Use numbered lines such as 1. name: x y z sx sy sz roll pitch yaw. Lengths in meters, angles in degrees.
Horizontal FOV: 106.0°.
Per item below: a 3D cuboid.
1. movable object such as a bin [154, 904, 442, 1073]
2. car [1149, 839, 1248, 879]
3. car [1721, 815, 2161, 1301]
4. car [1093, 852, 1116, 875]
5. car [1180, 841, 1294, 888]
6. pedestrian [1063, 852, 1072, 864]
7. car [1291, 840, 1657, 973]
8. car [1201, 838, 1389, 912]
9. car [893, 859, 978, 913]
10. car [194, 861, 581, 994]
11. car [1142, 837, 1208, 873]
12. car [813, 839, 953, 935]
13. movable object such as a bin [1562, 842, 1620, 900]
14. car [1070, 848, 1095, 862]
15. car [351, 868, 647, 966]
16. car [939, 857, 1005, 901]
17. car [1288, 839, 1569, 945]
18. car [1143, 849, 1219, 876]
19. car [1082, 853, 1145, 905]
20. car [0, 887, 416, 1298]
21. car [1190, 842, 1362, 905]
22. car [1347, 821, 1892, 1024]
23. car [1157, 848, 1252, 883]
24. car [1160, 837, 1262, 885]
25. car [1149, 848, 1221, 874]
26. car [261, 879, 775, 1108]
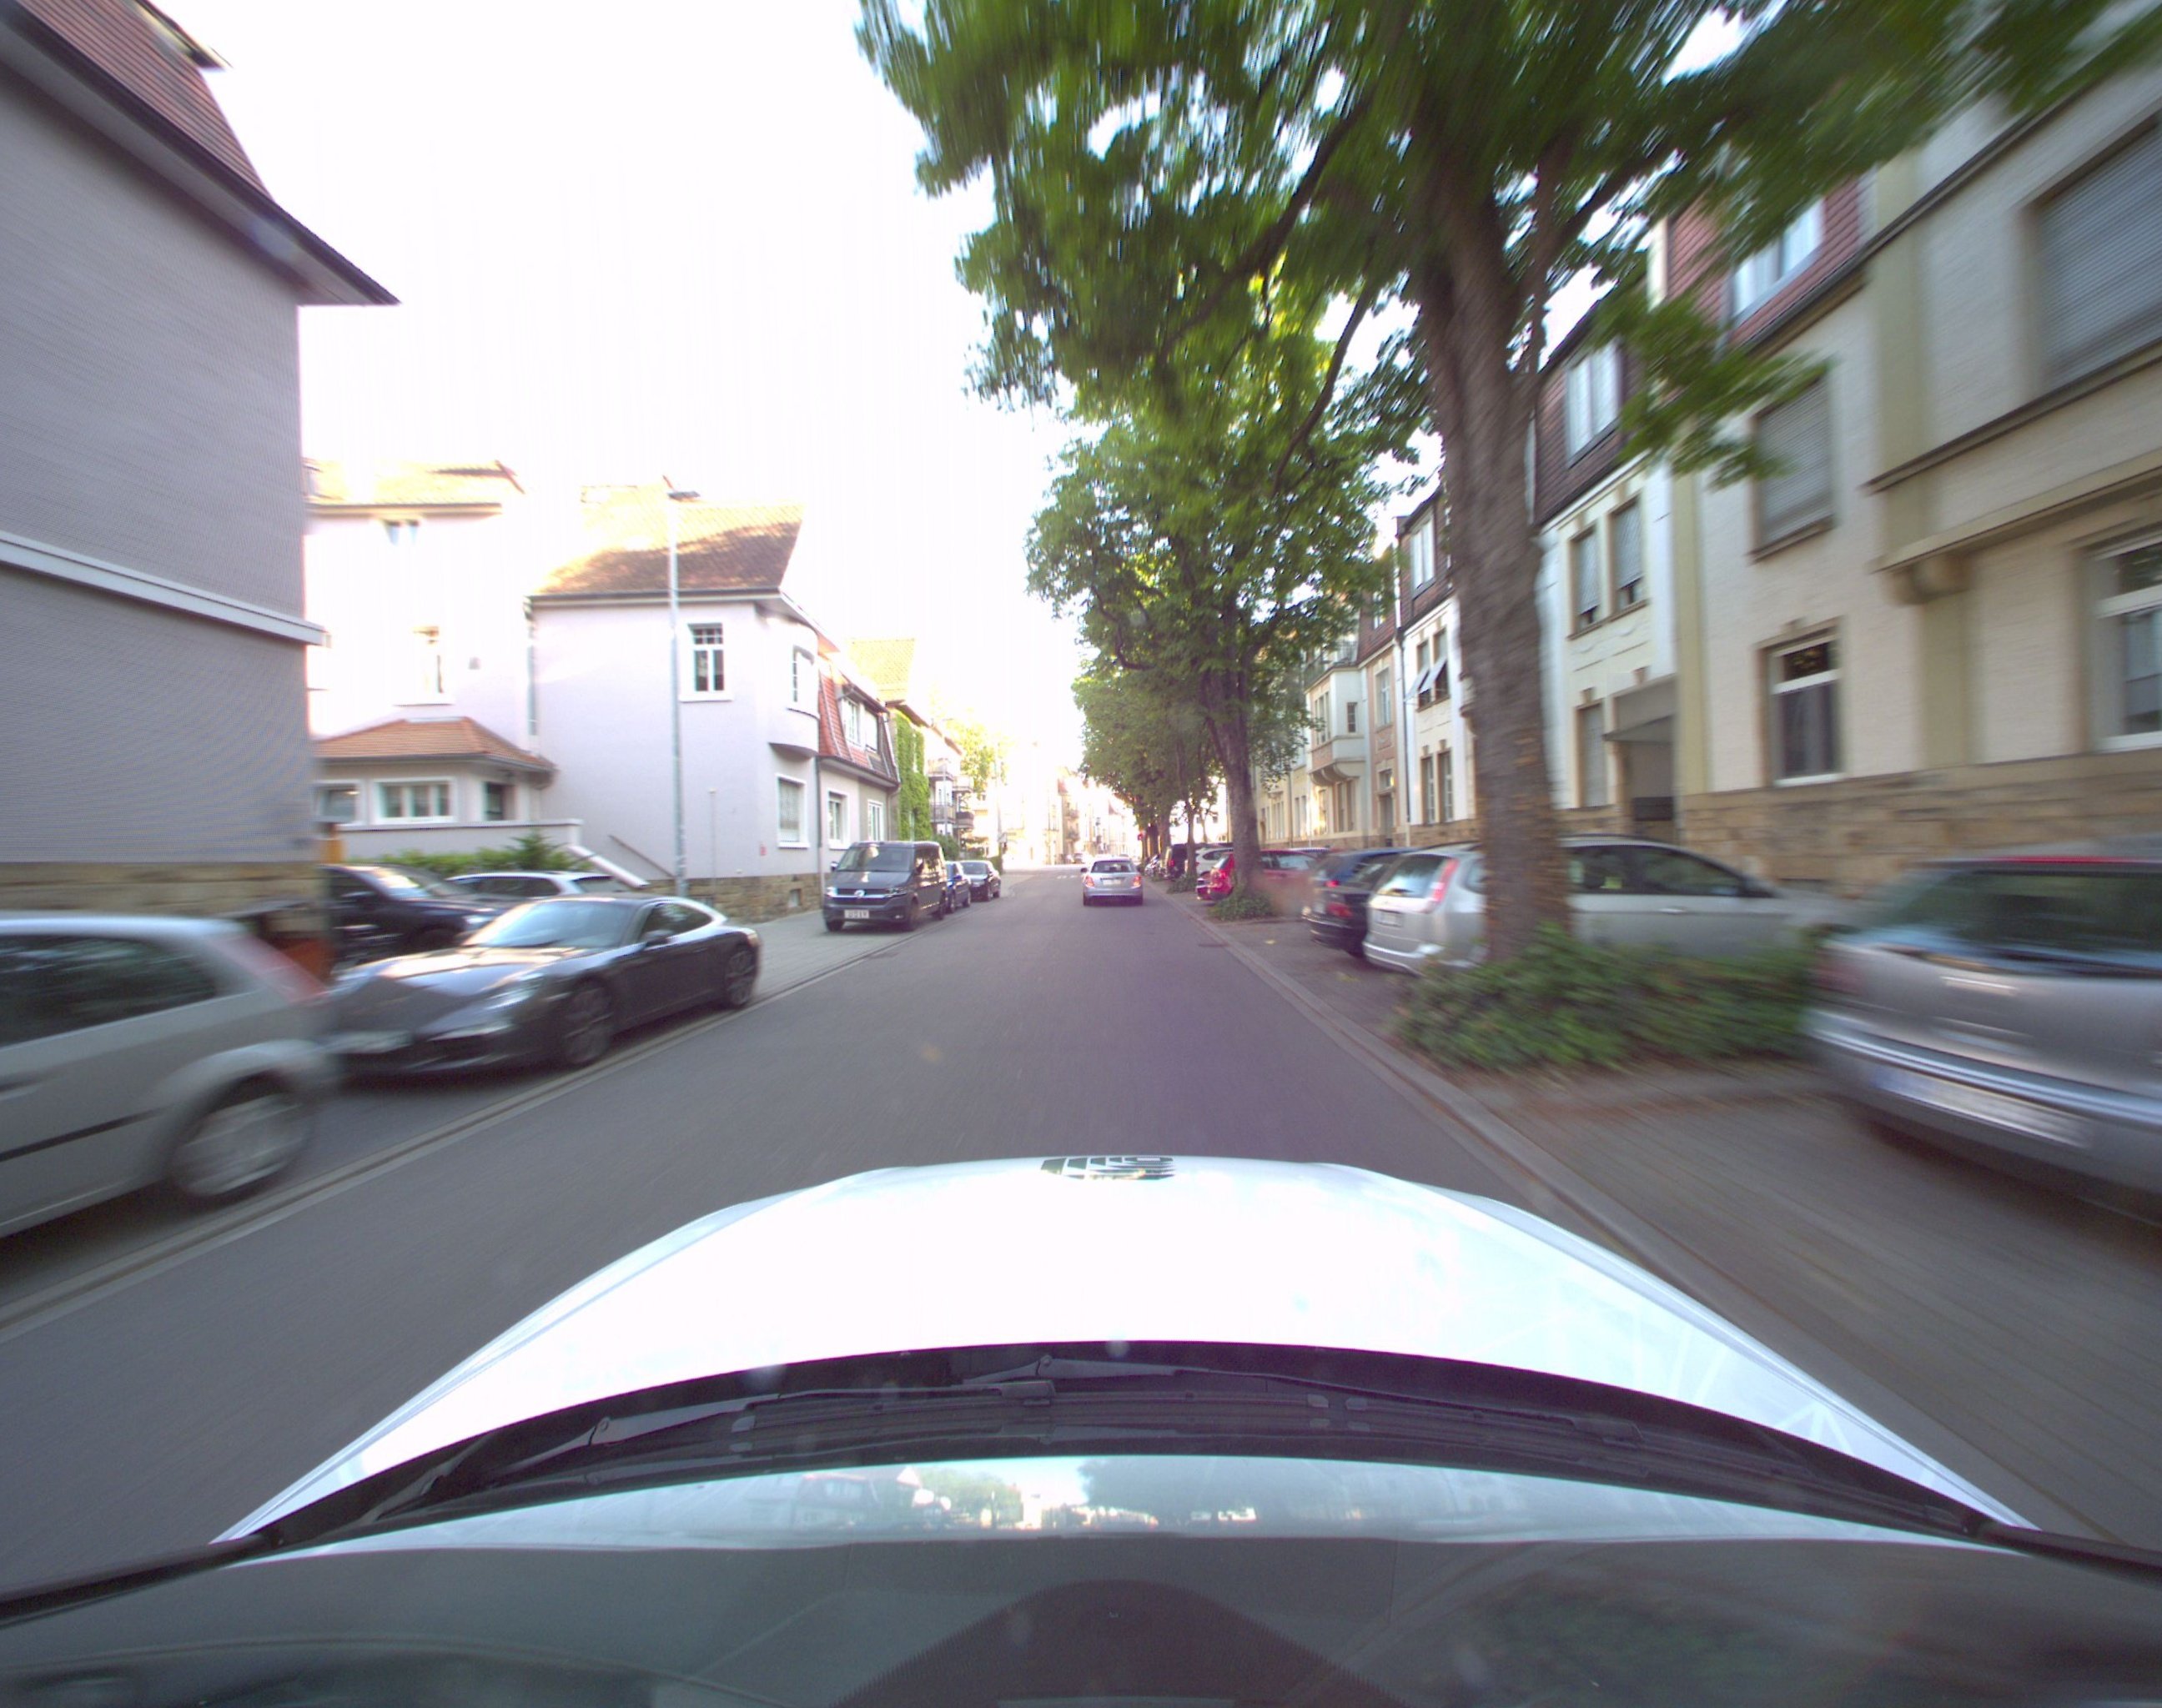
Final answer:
1. movable object such as a bin: -7.502 1.213 7.995 0.719 1.283 2.097 -2 0 2
2. car: 6.298 0.271 44.057 5.038 1.989 2.071 -2 0 -1
3. car: 5.110 0.545 3.243 3.784 1.438 1.747 -3 0 -3
4. car: 1.765 0.670 60.470 1.617 1.570 3.683 -2 0 3
5. car: 6.061 0.405 32.057 4.095 1.571 1.878 -3 0 1
6. pedestrian: -1.974 0.546 120.285 1.215 1.721 1.505 -1 0 5
7. car: 4.806 0.613 10.393 3.779 1.438 1.818 -2 0 1
8. car: 5.192 0.499 20.208 4.171 1.475 1.854 -4 0 4
9. car: -4.280 0.902 24.631 1.647 1.447 4.239 0 0 2
10. car: -9.782 0.983 11.780 3.853 1.621 1.896 -1 1 -3
11. car: 6.536 0.039 56.903 4.375 2.364 1.999 -2 0 -1
12. car: -4.445 0.662 19.129 1.975 1.947 4.852 -1 0 1
13. movable object such as a bin: 9.874 0.324 15.781 0.697 1.049 0.541 -5 0 1
14. car: 0.264 0.100 102.461 1.978 1.585 4.019 -1 0 18
15. car: -9.930 1.038 14.134 3.853 1.443 1.634 -1 1 -3
16. car: -3.922 0.861 30.007 1.688 1.447 4.360 -1 0 2
17. car: 5.351 0.573 12.895 3.776 1.483 1.562 -2 0 3
18. car: 5.966 0.498 48.991 4.275 1.417 1.876 -3 0 -1
19. car: 0.998 0.725 24.894 1.777 1.437 3.853 -1 -1 2
20. car: -4.861 0.940 2.867 1.647 1.445 3.963 -1 0 3
21. car: 5.351 0.540 22.805 4.391 1.419 1.879 -4 0 4
22. car: 4.896 0.569 7.769 4.138 1.577 1.710 -2 0 -4
23. car: 5.890 0.527 39.277 4.275 1.541 1.876 -2 0 -1
24. car: 5.817 0.307 36.801 4.207 1.896 1.905 -3 0 -1
25. car: 6.539 0.422 51.500 4.275 1.541 1.898 -2 0 -1
26. car: -4.523 0.993 7.487 1.524 1.319 4.232 -1 1 4
